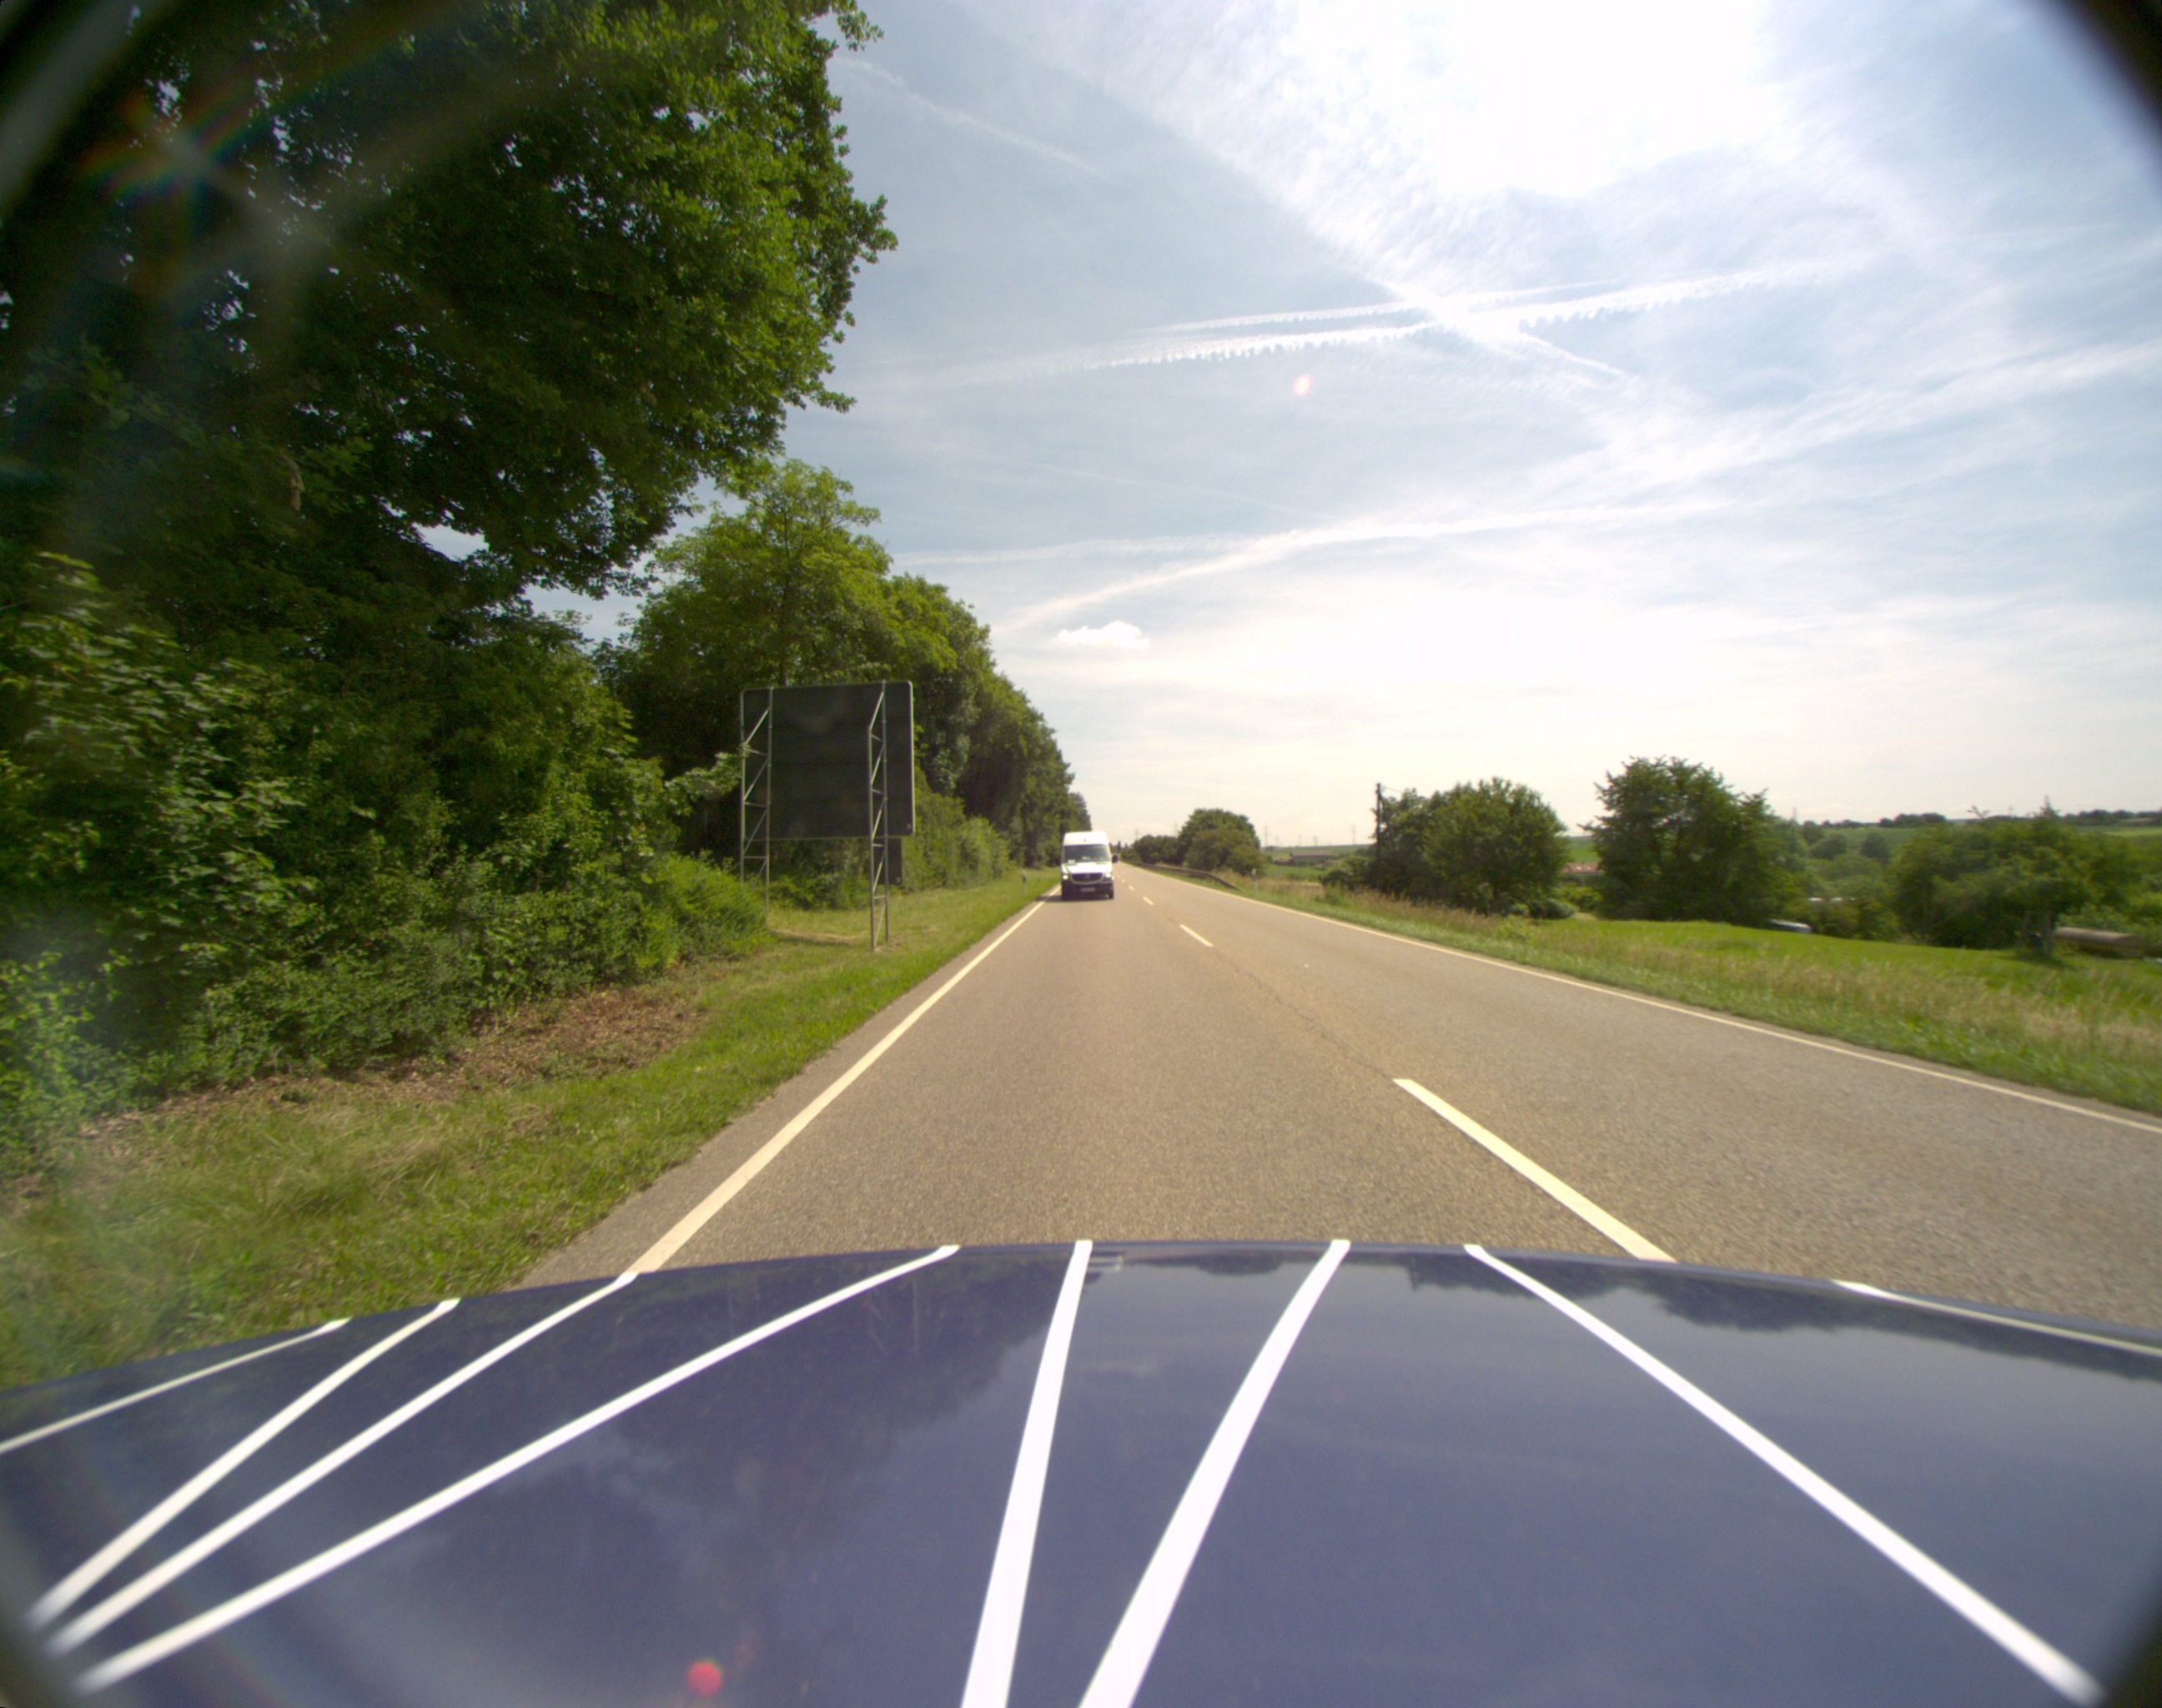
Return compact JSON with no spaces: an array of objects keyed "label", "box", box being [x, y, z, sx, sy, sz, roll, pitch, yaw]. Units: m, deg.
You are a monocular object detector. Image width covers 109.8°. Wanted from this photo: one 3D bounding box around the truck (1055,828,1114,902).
[{"label":"truck","box":[0.277,0.379,30.714,2.022,2.567,7.226,-2,0,2]}]
